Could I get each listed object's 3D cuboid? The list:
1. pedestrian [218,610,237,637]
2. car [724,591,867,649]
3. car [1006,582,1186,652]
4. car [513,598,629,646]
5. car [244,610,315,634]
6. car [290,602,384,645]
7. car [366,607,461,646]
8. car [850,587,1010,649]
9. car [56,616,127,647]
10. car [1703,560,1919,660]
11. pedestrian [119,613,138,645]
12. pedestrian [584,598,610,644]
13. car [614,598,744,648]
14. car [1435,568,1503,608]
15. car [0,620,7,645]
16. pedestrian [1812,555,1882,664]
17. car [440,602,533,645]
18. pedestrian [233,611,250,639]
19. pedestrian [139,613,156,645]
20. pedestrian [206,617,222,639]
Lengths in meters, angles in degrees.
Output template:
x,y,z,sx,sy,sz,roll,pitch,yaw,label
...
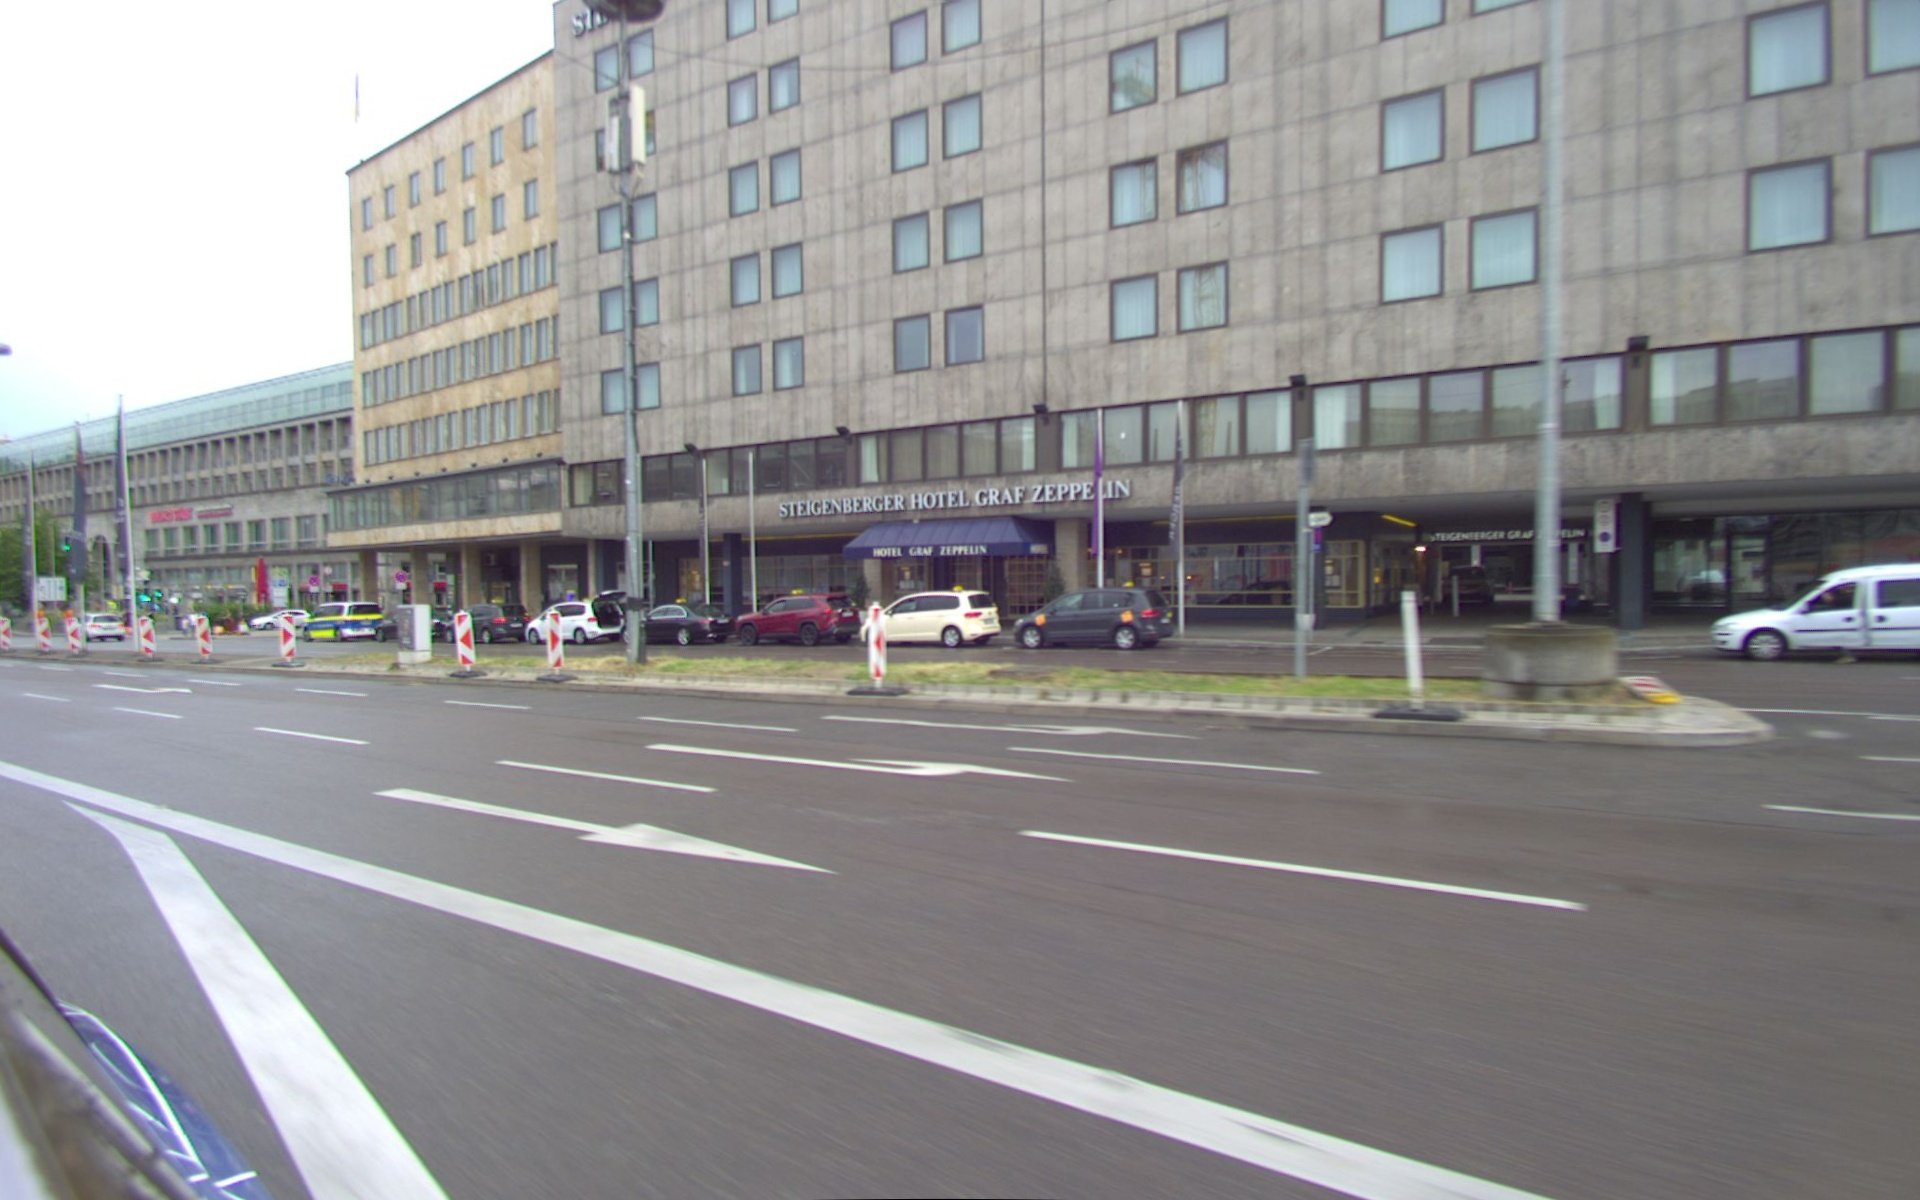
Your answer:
x,y,z,sx,sy,sz,roll,pitch,yaw,label
-44.807,1.422,61.929,0.675,1.604,0.662,-1,0,17,pedestrian
-5.447,0.649,33.313,4.635,1.781,1.886,-1,0,35,car
3.632,0.443,27.367,4.503,1.741,1.801,-1,0,35,car
-15.187,0.861,39.444,4.695,1.771,1.741,-1,0,32,car
-51.008,1.633,75.919,1.803,1.652,4.043,-1,0,37,car
-30.680,1.161,49.773,5.058,1.943,1.886,-2,-1,32,car
-24.650,1.191,45.598,4.549,1.633,1.741,-1,0,32,car
-0.938,0.521,30.251,4.563,1.711,1.802,-1,0,33,car
-49.118,1.772,57.210,4.485,1.681,1.810,-1,0,32,car
16.757,0.177,18.988,4.357,1.776,1.760,-1,0,32,car
-52.339,1.813,63.667,0.805,2.029,0.698,-1,0,32,pedestrian
-14.487,0.828,40.390,0.656,1.794,0.616,0,2,33,pedestrian
-10.076,0.829,36.187,4.602,1.672,1.888,-2,0,33,car
23.834,-0.574,47.326,2.263,1.741,4.821,-1,0,34,car
-66.731,2.204,68.906,4.488,1.682,1.759,-1,-1,34,car
15.835,0.165,18.093,0.793,1.900,0.686,-2,0,32,pedestrian
-19.822,0.994,42.320,4.221,1.694,1.738,-2,0,37,car
-43.547,1.501,61.333,0.750,1.681,0.559,-1,0,30,pedestrian
-50.599,1.787,63.028,0.749,1.939,0.585,-1,0,32,pedestrian
-45.480,1.710,61.688,0.750,1.301,0.559,-1,0,30,pedestrian
